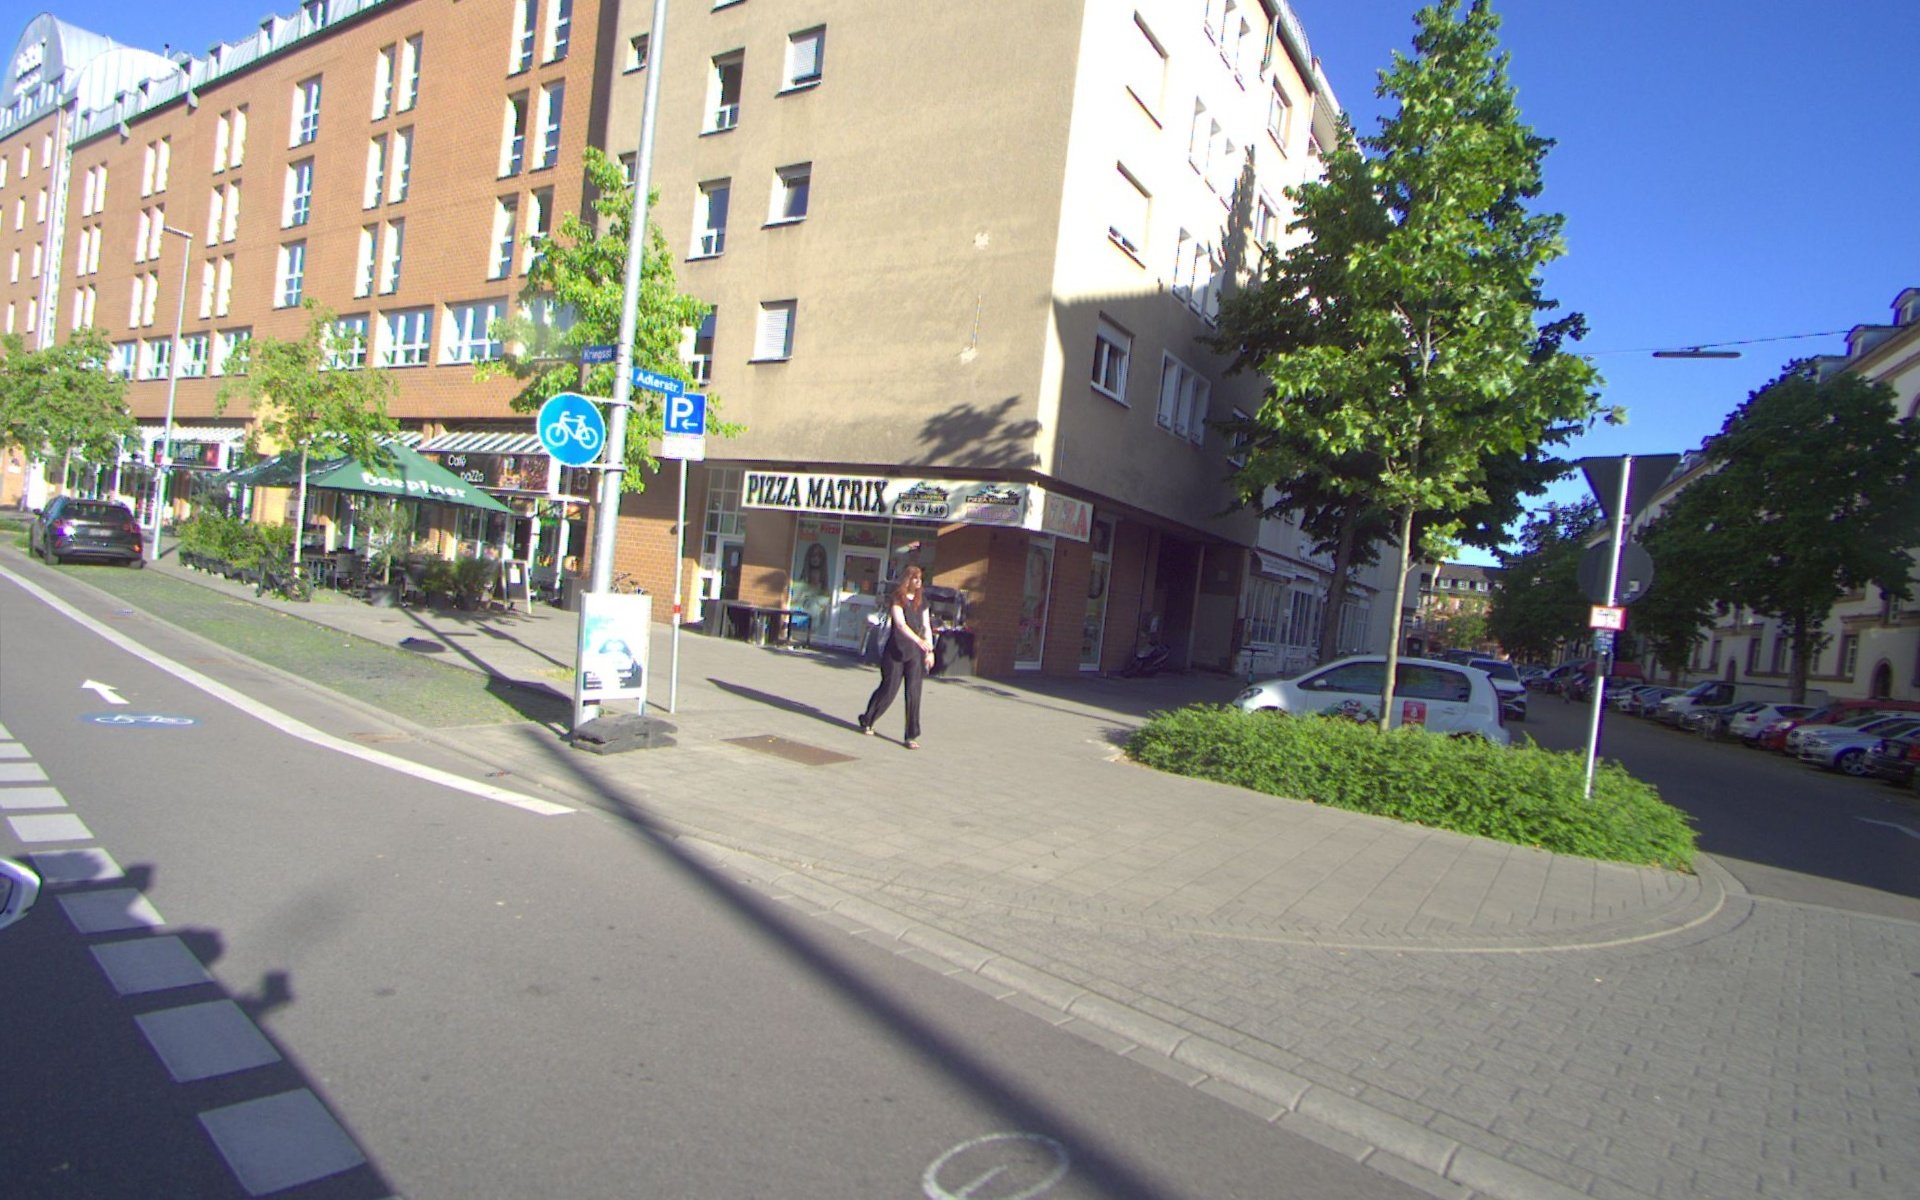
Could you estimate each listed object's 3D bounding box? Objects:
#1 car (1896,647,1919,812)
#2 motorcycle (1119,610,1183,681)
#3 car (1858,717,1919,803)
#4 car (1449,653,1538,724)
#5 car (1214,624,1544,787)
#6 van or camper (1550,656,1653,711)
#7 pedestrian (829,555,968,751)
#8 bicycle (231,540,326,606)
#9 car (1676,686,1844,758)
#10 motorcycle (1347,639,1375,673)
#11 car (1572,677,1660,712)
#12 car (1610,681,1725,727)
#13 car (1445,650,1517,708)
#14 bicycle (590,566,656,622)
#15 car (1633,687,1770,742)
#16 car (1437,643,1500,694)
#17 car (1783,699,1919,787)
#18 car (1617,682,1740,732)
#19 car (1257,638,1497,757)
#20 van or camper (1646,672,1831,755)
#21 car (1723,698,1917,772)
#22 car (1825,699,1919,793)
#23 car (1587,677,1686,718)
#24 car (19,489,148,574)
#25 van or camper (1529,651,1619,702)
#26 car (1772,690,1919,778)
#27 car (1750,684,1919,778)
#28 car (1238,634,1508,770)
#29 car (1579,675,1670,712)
[{"bbox_3d":[18.001,2.260,14.693,5.855,2.642,1.927,4,0,23],"label":"car"},{"bbox_3d":[4.742,1.147,24.870,0.641,1.627,2.261,8,1,30],"label":"motorcycle"},{"bbox_3d":[19.575,3.260,18.681,3.933,1.508,1.694,7,-1,31],"label":"car"},{"bbox_3d":[16.232,2.622,30.823,1.964,1.720,4.392,8,1,25],"label":"car"},{"bbox_3d":[5.586,1.368,13.736,3.766,1.492,1.668,8,-1,22],"label":"car"},{"bbox_3d":[39.074,5.080,61.431,4.797,2.558,1.821,8,-1,21],"label":"van or camper"},{"bbox_3d":[-0.627,0.497,9.888,0.875,1.787,1.098,4,2,-26],"label":"pedestrian"},{"bbox_3d":[-13.141,-0.537,19.378,1.964,1.097,0.764,6,5,31],"label":"bicycle"},{"bbox_3d":[26.690,4.045,33.732,3.928,1.699,1.742,8,-1,25],"label":"car"},{"bbox_3d":[17.158,2.402,43.015,0.641,1.338,2.261,8,1,30],"label":"motorcycle"},{"bbox_3d":[38.304,5.509,58.843,3.929,1.452,1.695,8,-1,26],"label":"car"},{"bbox_3d":[32.254,4.716,45.967,3.929,1.452,1.695,8,-1,26],"label":"car"},{"bbox_3d":[18.137,2.774,35.149,1.792,1.659,4.000,8,-1,24],"label":"car"},{"bbox_3d":[-8.199,-0.158,24.452,1.511,1.185,0.614,8,3,31],"label":"bicycle"},{"bbox_3d":[28.834,4.421,39.273,3.929,1.452,1.695,8,-1,26],"label":"car"},{"bbox_3d":[21.936,3.001,43.526,1.897,1.820,4.181,8,-1,23],"label":"car"},{"bbox_3d":[21.718,3.408,23.091,3.930,1.635,1.695,8,-1,28],"label":"car"},{"bbox_3d":[30.923,4.595,43.417,3.929,1.452,1.695,8,-1,26],"label":"car"},{"bbox_3d":[7.438,1.698,18.033,3.669,1.472,1.636,8,-1,27],"label":"car"},{"bbox_3d":[27.924,4.047,36.324,4.801,2.122,1.819,8,-1,26],"label":"van or camper"},{"bbox_3d":[25.300,3.934,29.782,3.930,1.452,1.695,8,-1,27],"label":"car"},{"bbox_3d":[20.792,3.239,20.838,3.929,1.760,1.543,8,-1,27],"label":"car"},{"bbox_3d":[34.936,5.029,52.069,3.929,1.452,1.695,8,-1,26],"label":"car"},{"bbox_3d":[-21.393,-1.693,24.497,4.170,1.658,1.718,7,1,40],"label":"car"},{"bbox_3d":[42.521,5.297,69.781,4.797,2.752,1.821,8,-1,21],"label":"van or camper"},{"bbox_3d":[23.289,3.455,25.327,3.926,1.748,1.696,8,-1,22],"label":"car"},{"bbox_3d":[24.282,3.557,27.352,3.928,1.960,1.695,8,-1,25],"label":"car"},{"bbox_3d":[6.427,1.547,15.850,3.590,1.470,1.637,8,-1,24],"label":"car"},{"bbox_3d":[37.293,5.232,56.605,3.929,1.452,1.695,8,-1,26],"label":"car"}]
